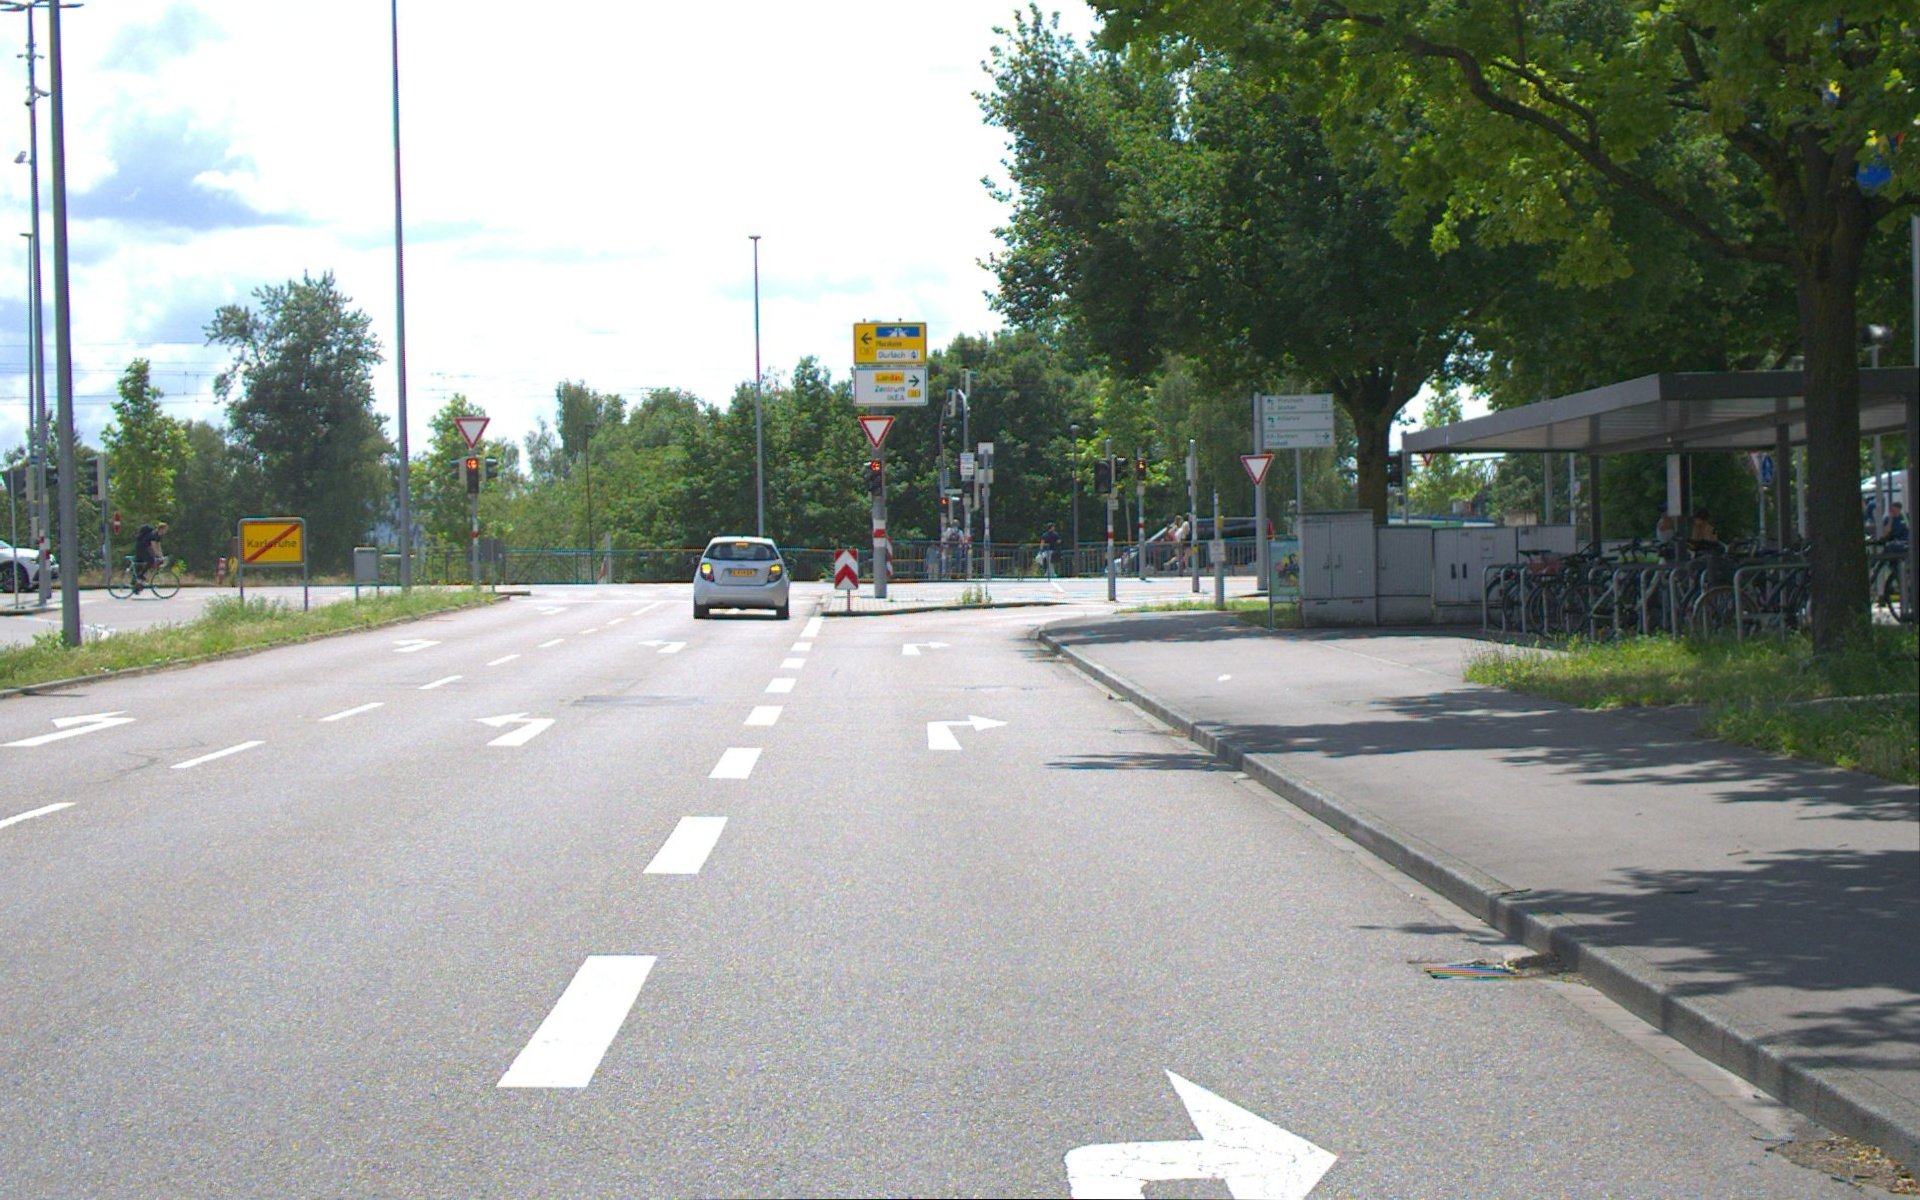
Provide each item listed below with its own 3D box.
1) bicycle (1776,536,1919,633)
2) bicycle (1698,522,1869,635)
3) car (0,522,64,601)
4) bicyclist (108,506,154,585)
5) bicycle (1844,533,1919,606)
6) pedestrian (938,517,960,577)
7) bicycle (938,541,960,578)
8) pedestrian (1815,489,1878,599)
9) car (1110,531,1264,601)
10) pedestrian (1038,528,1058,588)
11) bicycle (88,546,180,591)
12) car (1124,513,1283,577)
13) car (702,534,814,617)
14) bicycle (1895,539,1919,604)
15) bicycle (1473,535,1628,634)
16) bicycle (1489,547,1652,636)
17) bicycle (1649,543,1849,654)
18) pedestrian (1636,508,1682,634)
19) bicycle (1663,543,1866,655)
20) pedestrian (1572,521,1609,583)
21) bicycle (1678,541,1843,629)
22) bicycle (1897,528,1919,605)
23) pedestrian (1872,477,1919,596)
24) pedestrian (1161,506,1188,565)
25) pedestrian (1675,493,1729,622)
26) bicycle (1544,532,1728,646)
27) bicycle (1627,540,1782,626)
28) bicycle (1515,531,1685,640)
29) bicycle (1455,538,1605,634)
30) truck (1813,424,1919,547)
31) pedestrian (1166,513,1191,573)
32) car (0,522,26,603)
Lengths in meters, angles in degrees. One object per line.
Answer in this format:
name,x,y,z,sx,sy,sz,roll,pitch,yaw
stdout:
bicycle,10.018,-0.180,37.976,1.861,0.991,0.424,-3,0,-6
bicycle,9.595,-0.254,40.070,1.861,1.227,0.424,-2,1,-6
car,-25.481,-0.962,88.423,4.348,1.982,2.000,-2,1,-2
bicyclist,-19.543,-1.284,81.057,0.921,1.840,0.611,-1,1,-2
bicycle,14.949,-0.492,54.259,1.919,1.104,0.504,-2,-1,-19
pedestrian,-0.325,-1.571,102.201,0.611,1.763,0.672,-1,1,0
bicycle,-0.322,-1.213,102.242,0.619,1.084,1.722,-1,1,1
pedestrian,15.540,-0.976,60.262,1.008,1.895,0.973,-1,0,13
car,6.219,-0.933,94.440,3.986,1.776,1.910,-2,1,-3
pedestrian,2.548,-1.225,99.872,0.523,1.715,0.730,-2,1,2
bicycle,-19.465,-0.744,81.062,2.017,0.996,0.622,1,1,-1
car,7.457,-1.689,105.540,4.651,1.814,2.000,-2,1,-2
car,-3.722,-0.481,63.865,1.894,1.465,3.834,1,1,-1
bicycle,15.426,-0.468,53.056,1.862,0.991,0.424,-2,1,1
bicycle,7.485,-0.201,43.598,1.861,1.183,0.424,-2,1,-6
bicycle,7.351,-0.103,41.412,1.861,0.991,0.424,-2,1,-6
bicycle,7.873,-0.018,34.324,1.861,0.991,0.424,-3,1,-6
pedestrian,9.288,-0.385,45.695,0.544,1.656,0.546,-1,1,9
bicycle,7.918,-0.015,33.835,1.861,0.991,0.424,-3,1,-6
pedestrian,18.691,-1.429,101.983,0.927,1.801,0.736,-1,1,-2
bicycle,9.611,-0.178,41.297,1.861,0.991,0.424,-2,-1,-6
bicycle,15.068,-0.534,52.018,1.676,1.153,0.462,-2,1,-15
pedestrian,16.692,-1.118,60.843,1.008,2.065,0.973,-1,-1,13
pedestrian,6.359,-1.910,101.848,0.706,1.715,0.601,-2,1,1
pedestrian,9.626,-0.551,44.624,0.544,1.656,0.478,-1,1,-3
bicycle,7.420,-0.124,37.753,1.896,1.166,0.424,-2,1,0
bicycle,9.492,-0.221,43.859,1.862,1.030,0.424,-2,1,0
bicycle,7.437,-0.172,39.981,1.861,1.183,0.424,-2,1,-6
bicycle,7.447,-0.183,44.916,1.861,1.183,0.424,-2,1,-6
truck,35.211,-3.924,116.297,11.957,4.090,2.952,-1,1,-1
pedestrian,6.427,-1.681,101.141,0.676,1.742,0.637,-1,2,1
car,-25.712,-0.885,85.576,4.348,1.982,2.000,-2,1,-2
